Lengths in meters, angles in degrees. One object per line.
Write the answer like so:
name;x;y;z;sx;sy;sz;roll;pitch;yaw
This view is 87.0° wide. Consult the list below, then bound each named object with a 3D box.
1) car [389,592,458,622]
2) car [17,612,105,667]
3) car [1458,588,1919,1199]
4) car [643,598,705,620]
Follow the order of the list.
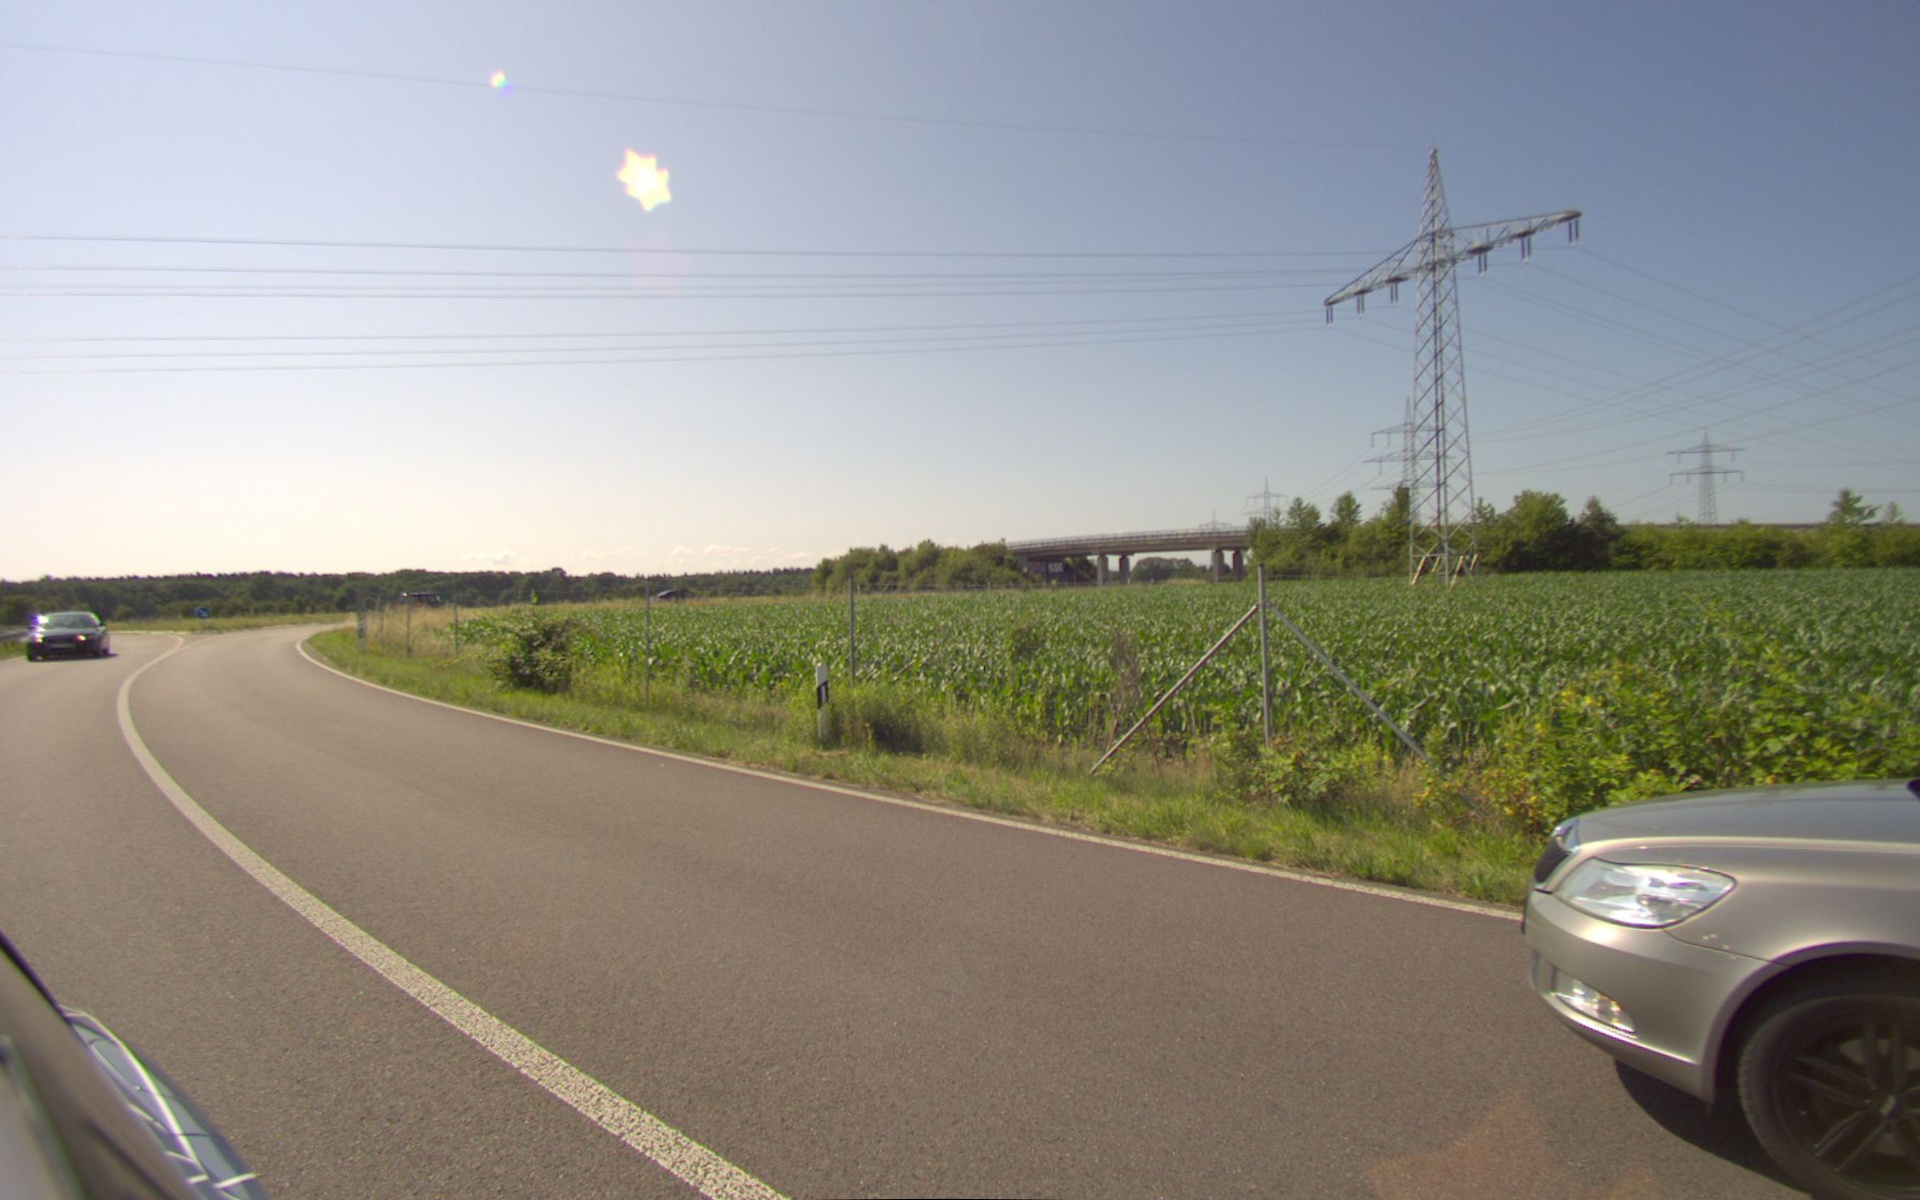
car;-32.405;0.389;61.295;1.962;1.719;4.262;0;1;-1
car;-27.772;1.164;31.366;1.858;1.467;4.083;-2;1;-40
car;4.003;0.725;2.053;5.126;1.492;1.849;-2;-3;37
car;-22.429;0.692;79.399;1.777;1.467;4.538;-2;1;35
